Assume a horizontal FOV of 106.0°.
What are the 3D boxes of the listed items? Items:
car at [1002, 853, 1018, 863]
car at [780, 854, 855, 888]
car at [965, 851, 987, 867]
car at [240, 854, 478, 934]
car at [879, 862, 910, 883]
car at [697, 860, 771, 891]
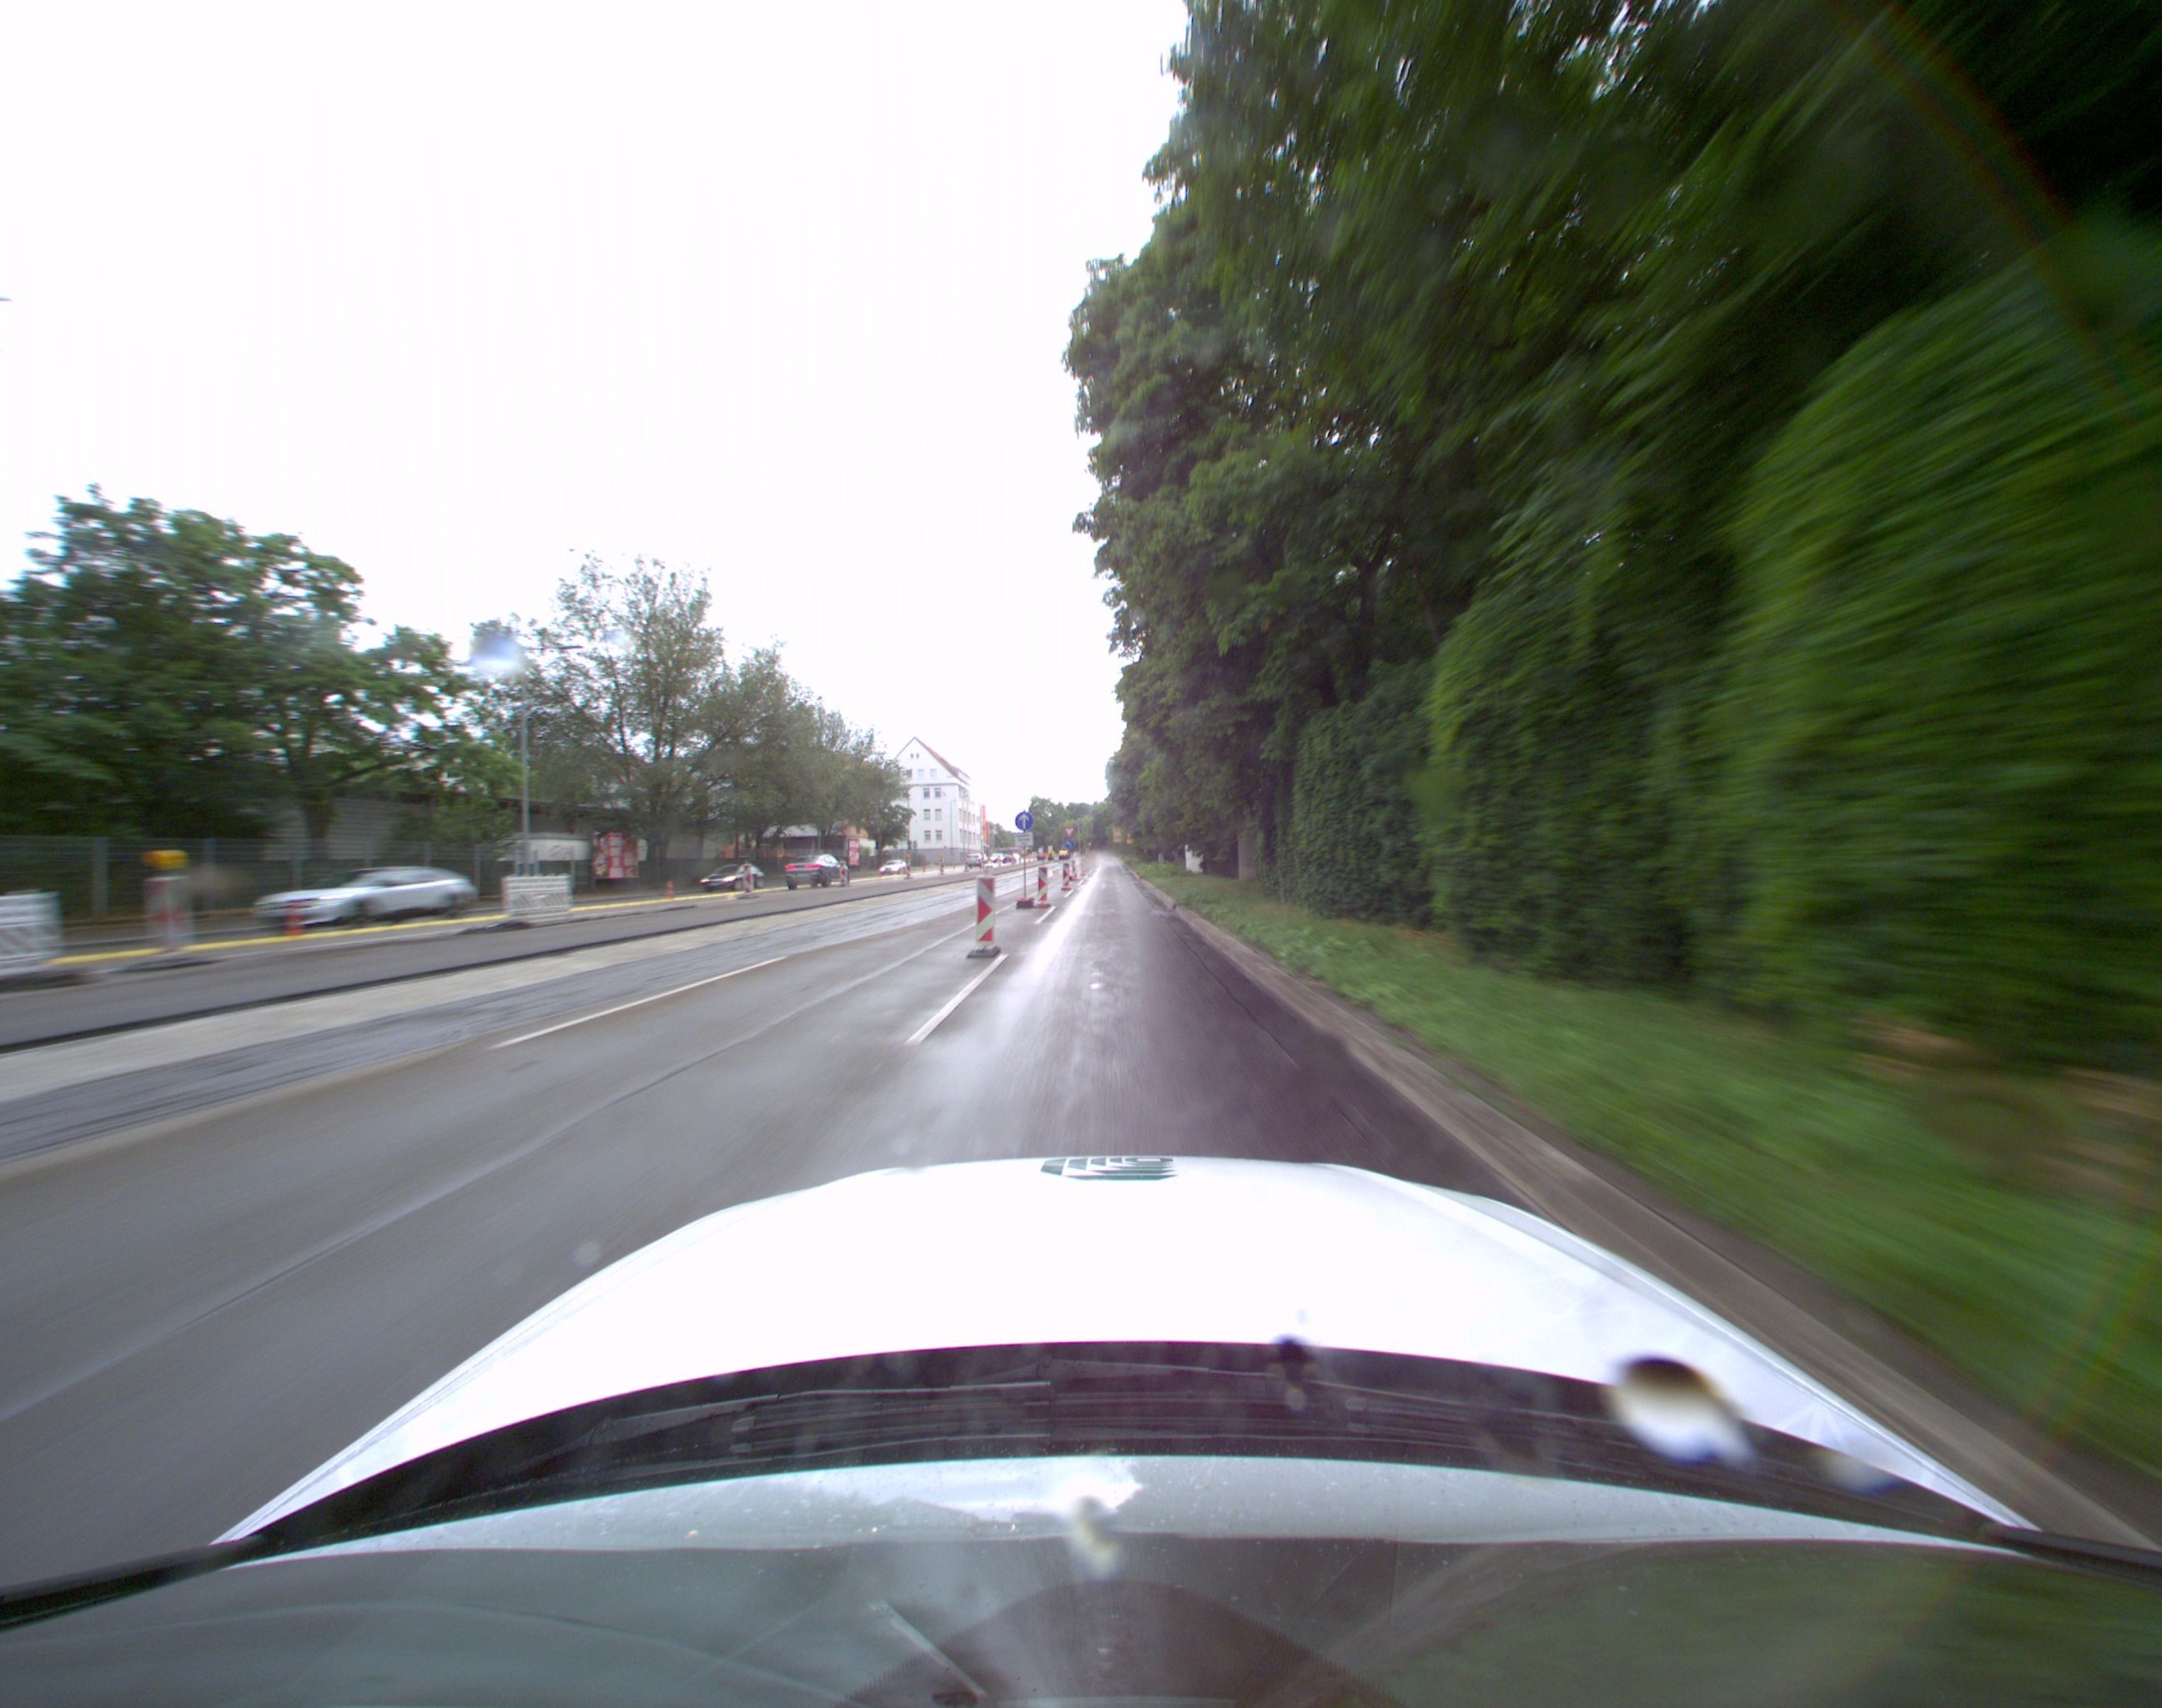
[{"bbox_3d":[-10.856,0.634,124.443,1.986,1.519,4.001,-1,0,2],"label":"car"},{"bbox_3d":[-13.372,0.823,41.729,2.069,1.613,5.057,-1,0,1],"label":"car"},{"bbox_3d":[-11.716,0.546,90.990,1.847,1.648,4.002,-1,0,2],"label":"car"},{"bbox_3d":[-17.646,0.892,20.258,1.986,1.766,4.281,-1,0,2],"label":"car"},{"bbox_3d":[-18.082,1.759,79.061,1.986,2.014,4.001,-1,0,1],"label":"car"},{"bbox_3d":[-19.165,1.157,45.205,1.986,1.586,4.621,-1,0,2],"label":"car"}]
